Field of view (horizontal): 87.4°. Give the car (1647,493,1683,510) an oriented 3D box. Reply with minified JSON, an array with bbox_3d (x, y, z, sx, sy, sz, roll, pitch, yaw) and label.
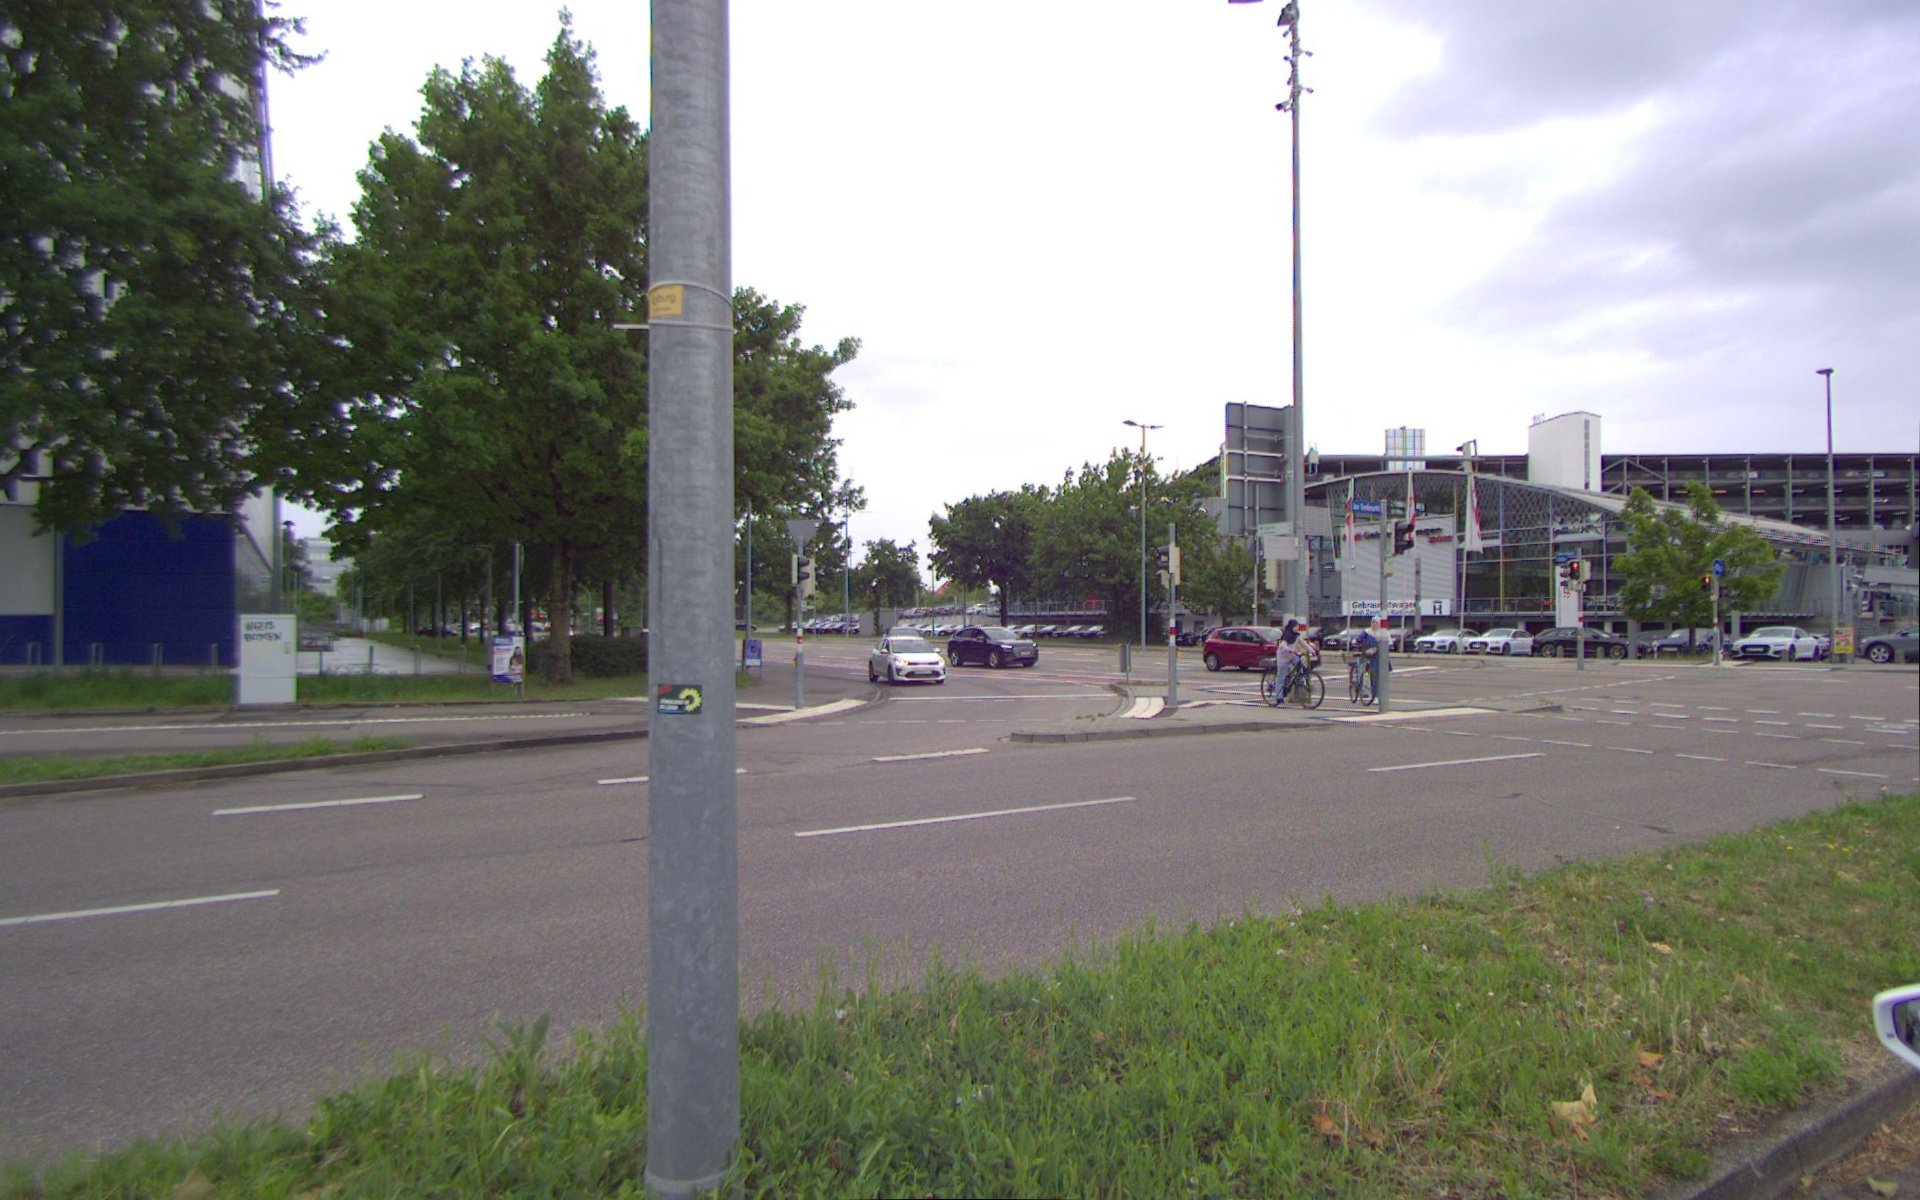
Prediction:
[{"bbox_3d":[91.555,-12.784,130.567,1.960,1.689,4.001,1,0,2],"label":"car"}]

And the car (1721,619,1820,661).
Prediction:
[{"bbox_3d":[32.006,1.595,39.652,4.184,1.505,1.858,3,-3,-33],"label":"car"}]

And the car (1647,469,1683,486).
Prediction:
[{"bbox_3d":[91.683,-15.934,130.620,1.960,1.689,4.001,1,0,2],"label":"car"}]

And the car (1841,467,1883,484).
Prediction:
[{"bbox_3d":[116.717,-16.108,129.983,1.960,1.689,4.001,1,0,2],"label":"car"}]

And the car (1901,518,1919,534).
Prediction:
[{"bbox_3d":[126.676,-9.772,131.289,2.167,1.971,5.331,1,0,-1],"label":"car"}]

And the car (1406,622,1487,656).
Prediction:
[{"bbox_3d":[24.488,1.955,50.502,4.002,1.505,1.860,4,-3,-33],"label":"car"}]

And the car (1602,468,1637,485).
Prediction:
[{"bbox_3d":[86.112,-16.101,131.206,1.960,1.689,4.001,1,0,2],"label":"car"}]

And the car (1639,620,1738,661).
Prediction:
[{"bbox_3d":[30.491,1.738,42.007,4.473,1.505,2.050,4,-5,-35],"label":"car"}]

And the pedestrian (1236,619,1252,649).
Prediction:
[{"bbox_3d":[18.130,2.172,64.151,0.666,1.895,0.713,3,-2,-31],"label":"pedestrian"}]

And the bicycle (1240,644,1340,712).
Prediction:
[{"bbox_3d":[6.127,1.433,18.769,0.502,1.181,1.933,3,-3,-29],"label":"bicycle"}]

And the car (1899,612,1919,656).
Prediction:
[{"bbox_3d":[44.296,1.454,43.561,2.034,1.900,4.914,2,-4,-35],"label":"car"}]

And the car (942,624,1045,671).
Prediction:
[{"bbox_3d":[1.263,1.848,39.736,1.867,1.659,4.292,-3,0,-35],"label":"car"}]

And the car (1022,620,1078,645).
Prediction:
[{"bbox_3d":[7.047,2.557,78.622,4.037,1.505,1.801,7,-3,-34],"label":"car"}]

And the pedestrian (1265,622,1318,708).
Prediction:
[{"bbox_3d":[6.172,1.200,18.710,0.646,1.569,0.645,3,-3,-29],"label":"pedestrian"}]

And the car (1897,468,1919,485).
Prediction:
[{"bbox_3d":[124.340,-16.040,130.281,1.960,1.689,4.001,1,0,2],"label":"car"}]

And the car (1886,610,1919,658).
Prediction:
[{"bbox_3d":[42.263,1.396,41.870,2.243,2.040,4.993,2,-4,-34],"label":"car"}]

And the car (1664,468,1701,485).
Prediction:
[{"bbox_3d":[94.051,-16.078,130.791,1.960,1.689,4.001,1,0,2],"label":"car"}]

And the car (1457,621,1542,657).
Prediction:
[{"bbox_3d":[26.014,1.895,48.440,4.154,1.505,1.836,4,-3,-33],"label":"car"}]

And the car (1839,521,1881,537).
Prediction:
[{"bbox_3d":[116.769,-9.224,130.328,1.960,1.689,4.001,1,0,2],"label":"car"}]

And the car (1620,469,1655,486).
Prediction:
[{"bbox_3d":[88.507,-16.027,131.314,1.960,1.689,4.001,1,0,2],"label":"car"}]

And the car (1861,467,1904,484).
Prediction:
[{"bbox_3d":[119.337,-16.112,129.940,1.960,1.689,4.001,1,0,2],"label":"car"}]

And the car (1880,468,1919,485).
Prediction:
[{"bbox_3d":[122.096,-16.025,130.304,1.960,1.689,4.001,1,0,2],"label":"car"}]

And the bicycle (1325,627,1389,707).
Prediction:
[{"bbox_3d":[7.486,1.269,19.009,0.585,1.414,1.936,-2,-3,6],"label":"bicycle"}]

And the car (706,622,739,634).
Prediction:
[{"bbox_3d":[-31.391,3.745,132.583,3.949,1.455,1.718,2,0,-27],"label":"car"}]

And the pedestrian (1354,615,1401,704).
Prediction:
[{"bbox_3d":[7.919,1.137,19.086,0.628,1.647,0.693,-2,-4,11],"label":"pedestrian"}]

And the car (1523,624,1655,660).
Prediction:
[{"bbox_3d":[28.375,1.888,45.453,1.873,1.505,4.713,4,-4,-32],"label":"car"}]

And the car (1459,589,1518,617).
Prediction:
[{"bbox_3d":[34.716,0.194,65.989,3.960,1.684,1.807,2,0,-35],"label":"car"}]

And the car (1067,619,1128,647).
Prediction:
[{"bbox_3d":[10.200,2.438,74.154,4.210,1.622,1.858,8,-4,-34],"label":"car"}]

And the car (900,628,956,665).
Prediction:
[{"bbox_3d":[-1.564,2.158,47.235,1.853,1.565,4.589,-2,-1,-12],"label":"car"}]

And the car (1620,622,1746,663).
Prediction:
[{"bbox_3d":[36.264,2.076,50.519,1.978,1.965,4.776,1,-2,-32],"label":"car"}]

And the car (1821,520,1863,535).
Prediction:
[{"bbox_3d":[114.159,-9.380,130.089,1.960,1.689,4.001,1,0,2],"label":"car"}]

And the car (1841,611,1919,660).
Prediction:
[{"bbox_3d":[37.578,1.381,38.955,1.979,1.887,4.744,2,-4,-34],"label":"car"}]

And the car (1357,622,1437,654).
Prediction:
[{"bbox_3d":[22.986,2.012,52.797,4.188,1.505,1.855,4,-3,-33],"label":"car"}]

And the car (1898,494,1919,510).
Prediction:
[{"bbox_3d":[124.135,-12.713,129.851,1.960,1.689,4.001,1,0,2],"label":"car"}]

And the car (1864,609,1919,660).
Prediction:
[{"bbox_3d":[39.714,1.373,40.339,1.979,2.040,4.674,2,-4,-34],"label":"car"}]

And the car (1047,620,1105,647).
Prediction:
[{"bbox_3d":[8.831,2.564,76.434,4.181,1.504,1.808,8,-4,-34],"label":"car"}]
